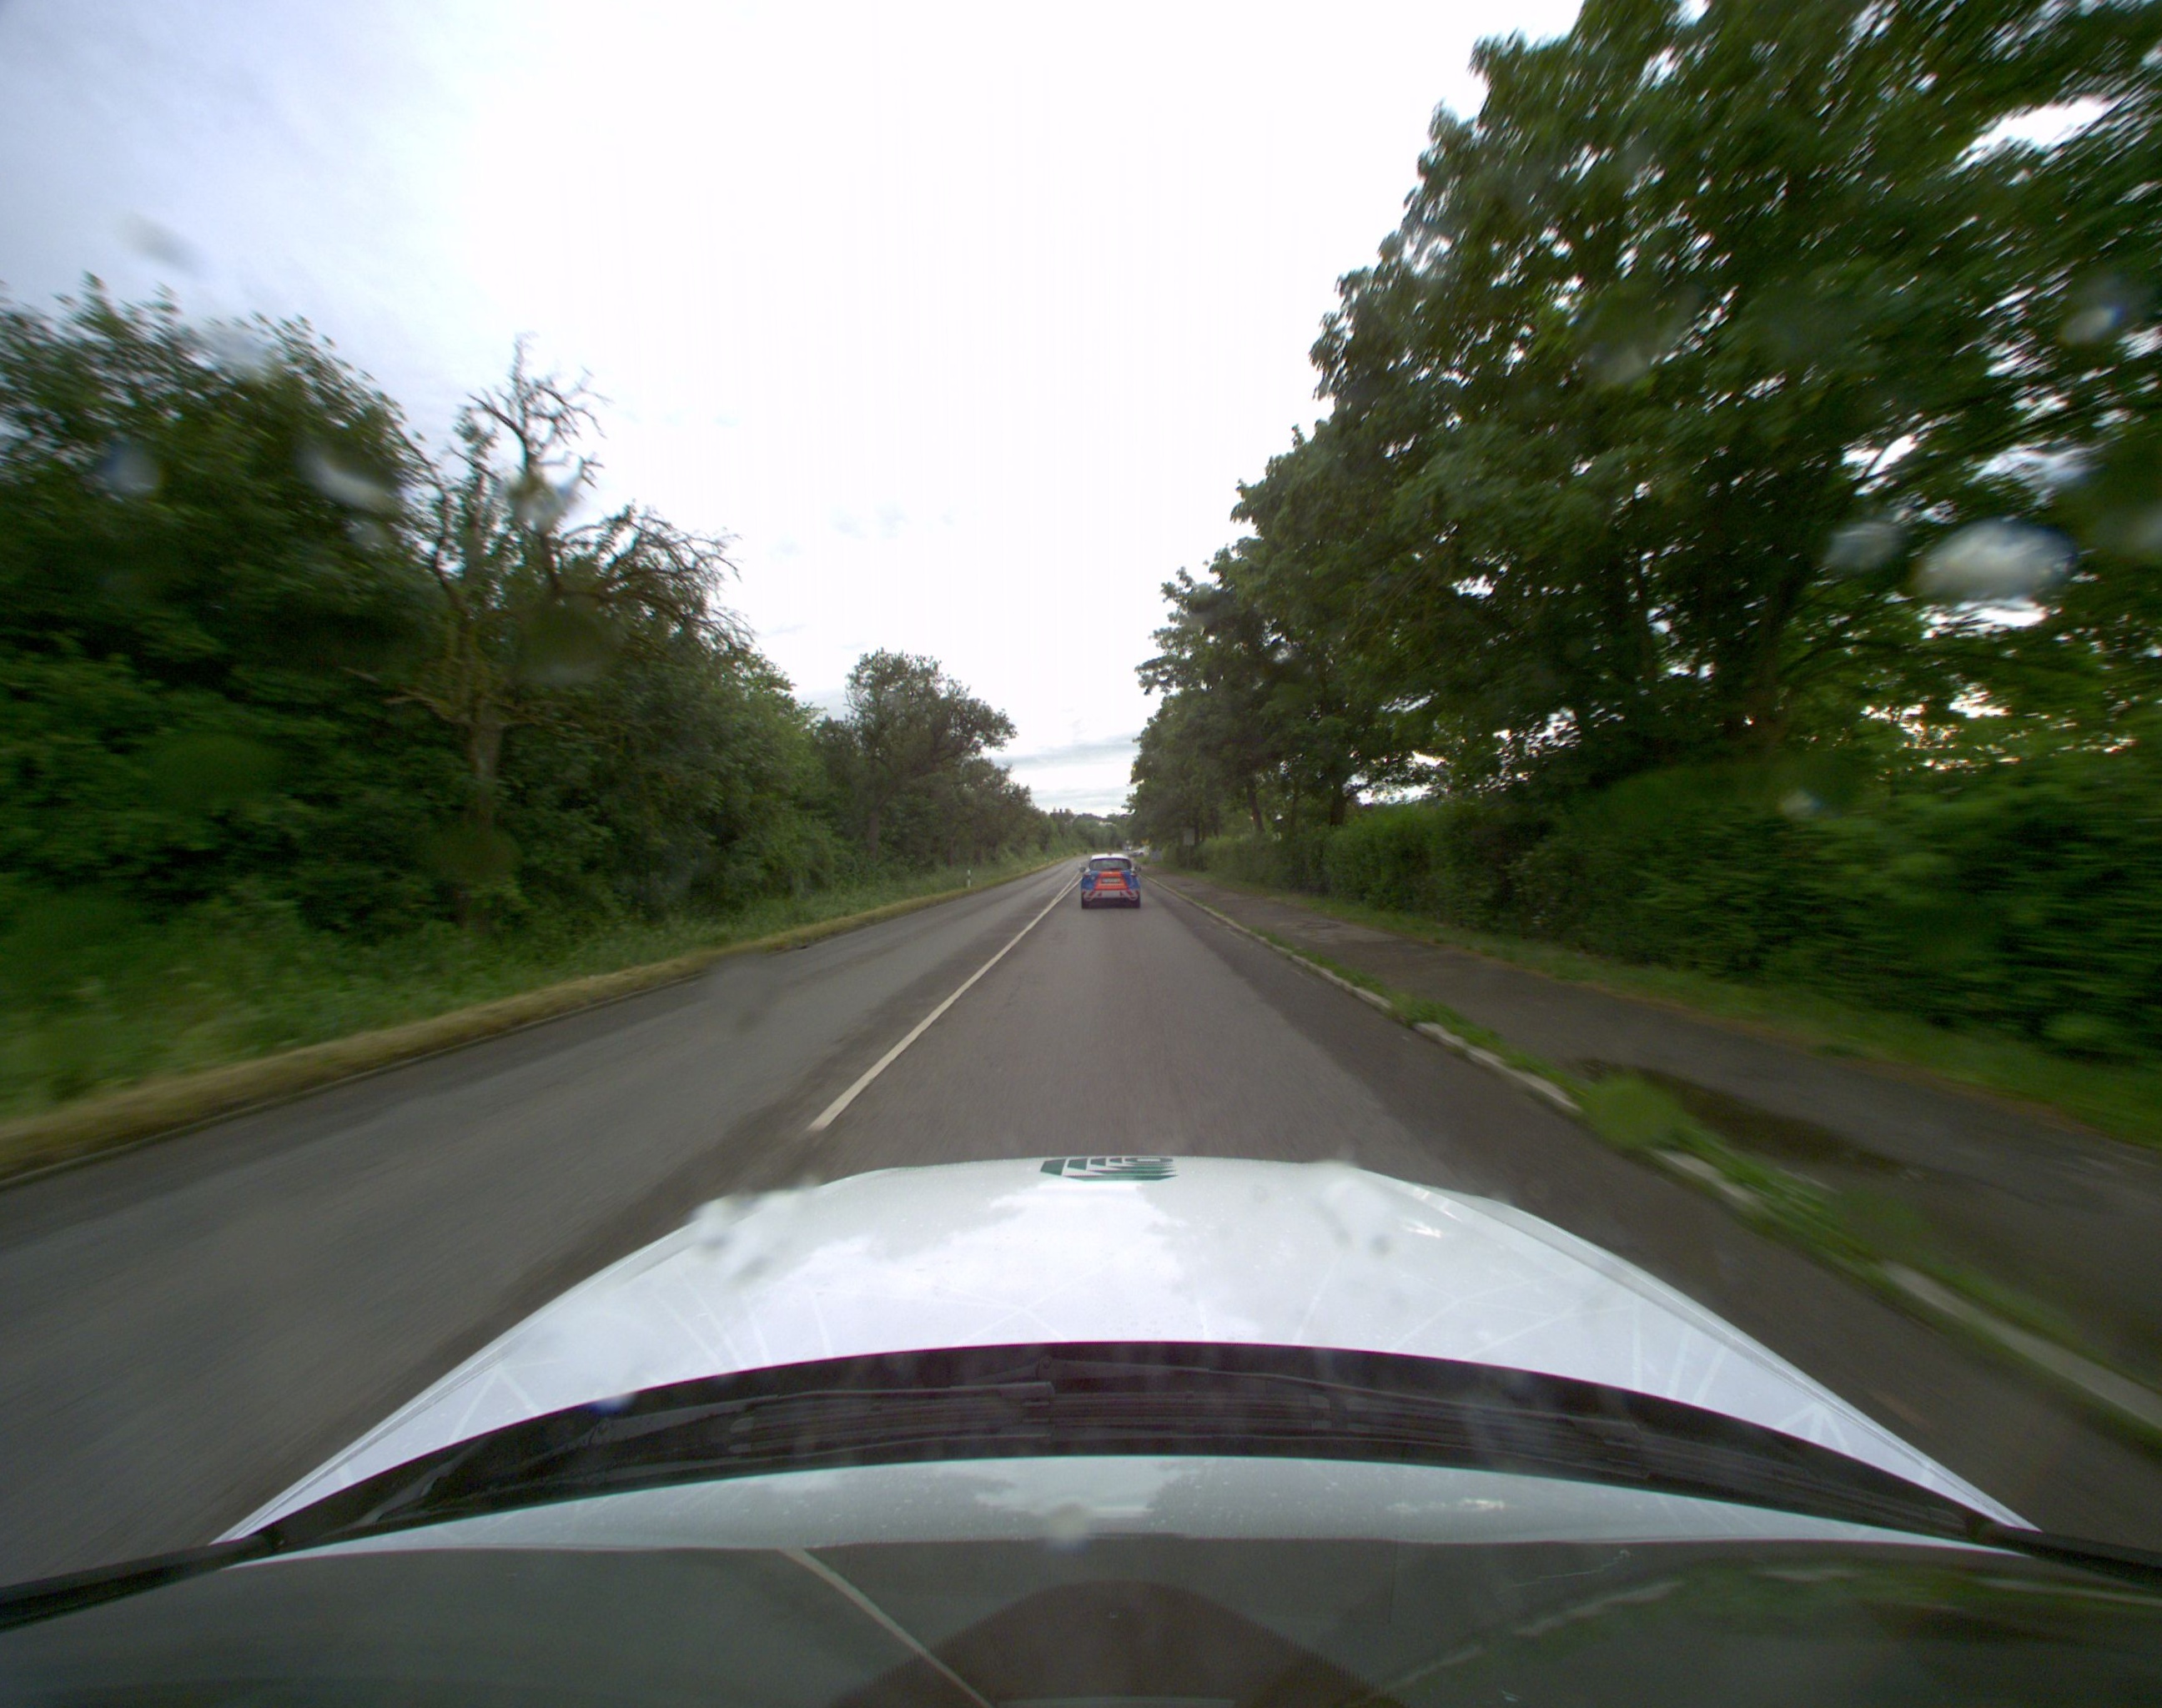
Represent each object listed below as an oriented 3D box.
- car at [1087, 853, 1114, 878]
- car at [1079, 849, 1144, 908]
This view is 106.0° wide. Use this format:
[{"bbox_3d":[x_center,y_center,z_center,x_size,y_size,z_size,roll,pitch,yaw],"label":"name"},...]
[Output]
[{"bbox_3d":[1.256,0.730,53.001,1.688,1.595,3.856,0,0,1],"label":"car"},{"bbox_3d":[0.902,0.693,24.709,1.799,1.668,3.857,0,0,1],"label":"car"}]
